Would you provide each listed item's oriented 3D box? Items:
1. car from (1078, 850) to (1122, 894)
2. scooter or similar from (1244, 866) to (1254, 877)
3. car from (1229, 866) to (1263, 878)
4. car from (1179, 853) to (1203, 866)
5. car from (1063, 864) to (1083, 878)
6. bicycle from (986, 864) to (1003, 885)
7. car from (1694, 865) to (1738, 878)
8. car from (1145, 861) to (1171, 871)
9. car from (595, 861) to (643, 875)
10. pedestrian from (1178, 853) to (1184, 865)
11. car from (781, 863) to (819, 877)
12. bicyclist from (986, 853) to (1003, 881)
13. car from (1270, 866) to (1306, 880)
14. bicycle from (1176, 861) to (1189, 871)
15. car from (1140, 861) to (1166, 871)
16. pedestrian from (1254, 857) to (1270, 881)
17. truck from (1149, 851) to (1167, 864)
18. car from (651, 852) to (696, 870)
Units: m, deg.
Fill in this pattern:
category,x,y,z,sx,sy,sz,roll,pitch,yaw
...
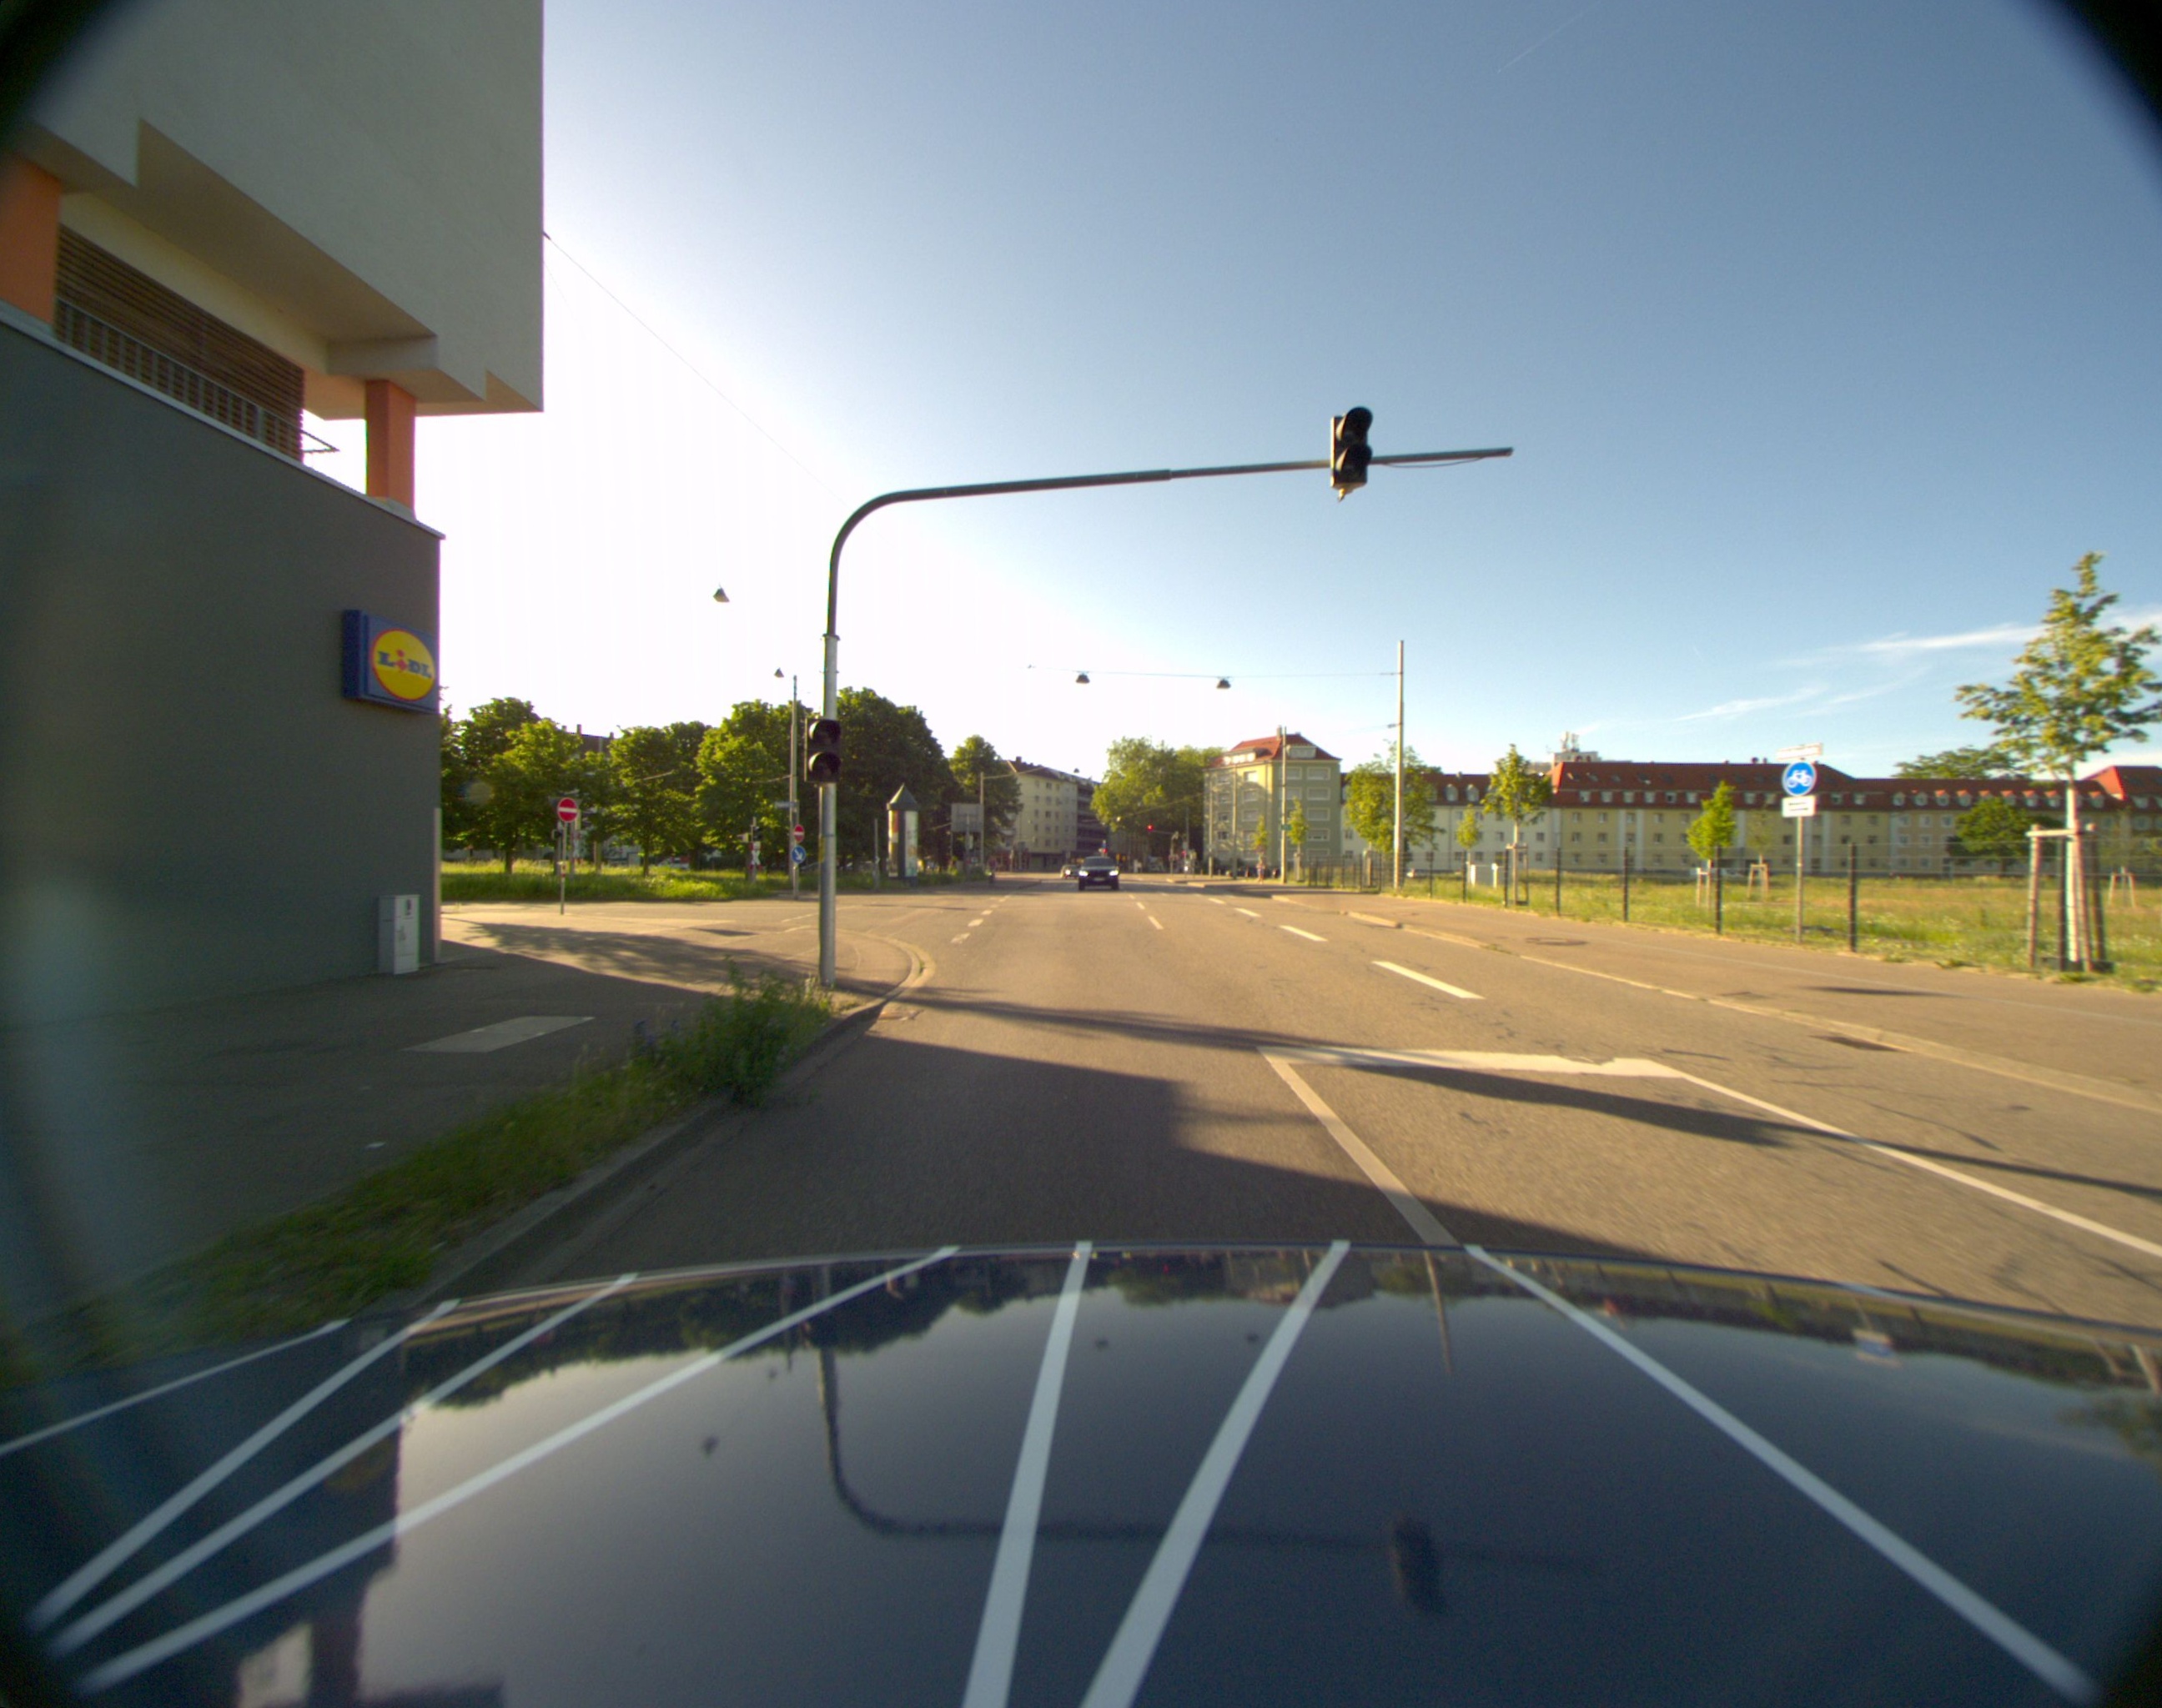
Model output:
category,x,y,z,sx,sy,sz,roll,pitch,yaw
car,0.888,0.824,37.227,1.941,1.922,4.523,-1,1,-1
scooter or similar,19.792,2.074,89.365,0.593,1.137,1.270,1,-4,42
car,21.945,2.427,101.272,4.203,1.484,1.943,1,-2,2
car,22.026,1.082,152.637,4.411,2.612,1.972,-1,1,23
car,-0.885,1.783,80.938,1.703,1.432,3.644,-1,-1,-8
bicycle,-5.017,1.173,44.153,0.720,1.185,2.001,1,-1,1
car,77.487,2.166,92.712,3.900,1.520,1.701,1,-4,-2
car,13.363,2.079,131.997,4.140,1.631,1.777,-1,1,23
car,-52.801,1.549,86.804,4.386,1.420,1.686,-2,1,-44
pedestrian,16.322,0.812,123.946,0.695,1.952,0.929,-1,1,31
car,-36.884,2.102,99.840,4.194,1.707,1.994,-2,1,-45
bicyclist,-5.033,0.754,44.277,0.813,1.590,1.149,1,0,1
car,25.549,2.338,93.931,3.900,1.520,1.701,1,-4,-2
bicycle,16.388,1.927,122.702,2.047,1.454,0.727,2,3,30
car,12.338,2.099,130.151,4.140,1.631,1.777,-1,1,23
pedestrian,12.372,1.003,51.890,0.834,1.619,1.181,-1,0,4
truck,19.066,0.830,188.213,2.339,2.955,8.042,-1,1,20
car,-48.455,0.808,90.454,4.341,1.953,1.904,-2,1,-44
